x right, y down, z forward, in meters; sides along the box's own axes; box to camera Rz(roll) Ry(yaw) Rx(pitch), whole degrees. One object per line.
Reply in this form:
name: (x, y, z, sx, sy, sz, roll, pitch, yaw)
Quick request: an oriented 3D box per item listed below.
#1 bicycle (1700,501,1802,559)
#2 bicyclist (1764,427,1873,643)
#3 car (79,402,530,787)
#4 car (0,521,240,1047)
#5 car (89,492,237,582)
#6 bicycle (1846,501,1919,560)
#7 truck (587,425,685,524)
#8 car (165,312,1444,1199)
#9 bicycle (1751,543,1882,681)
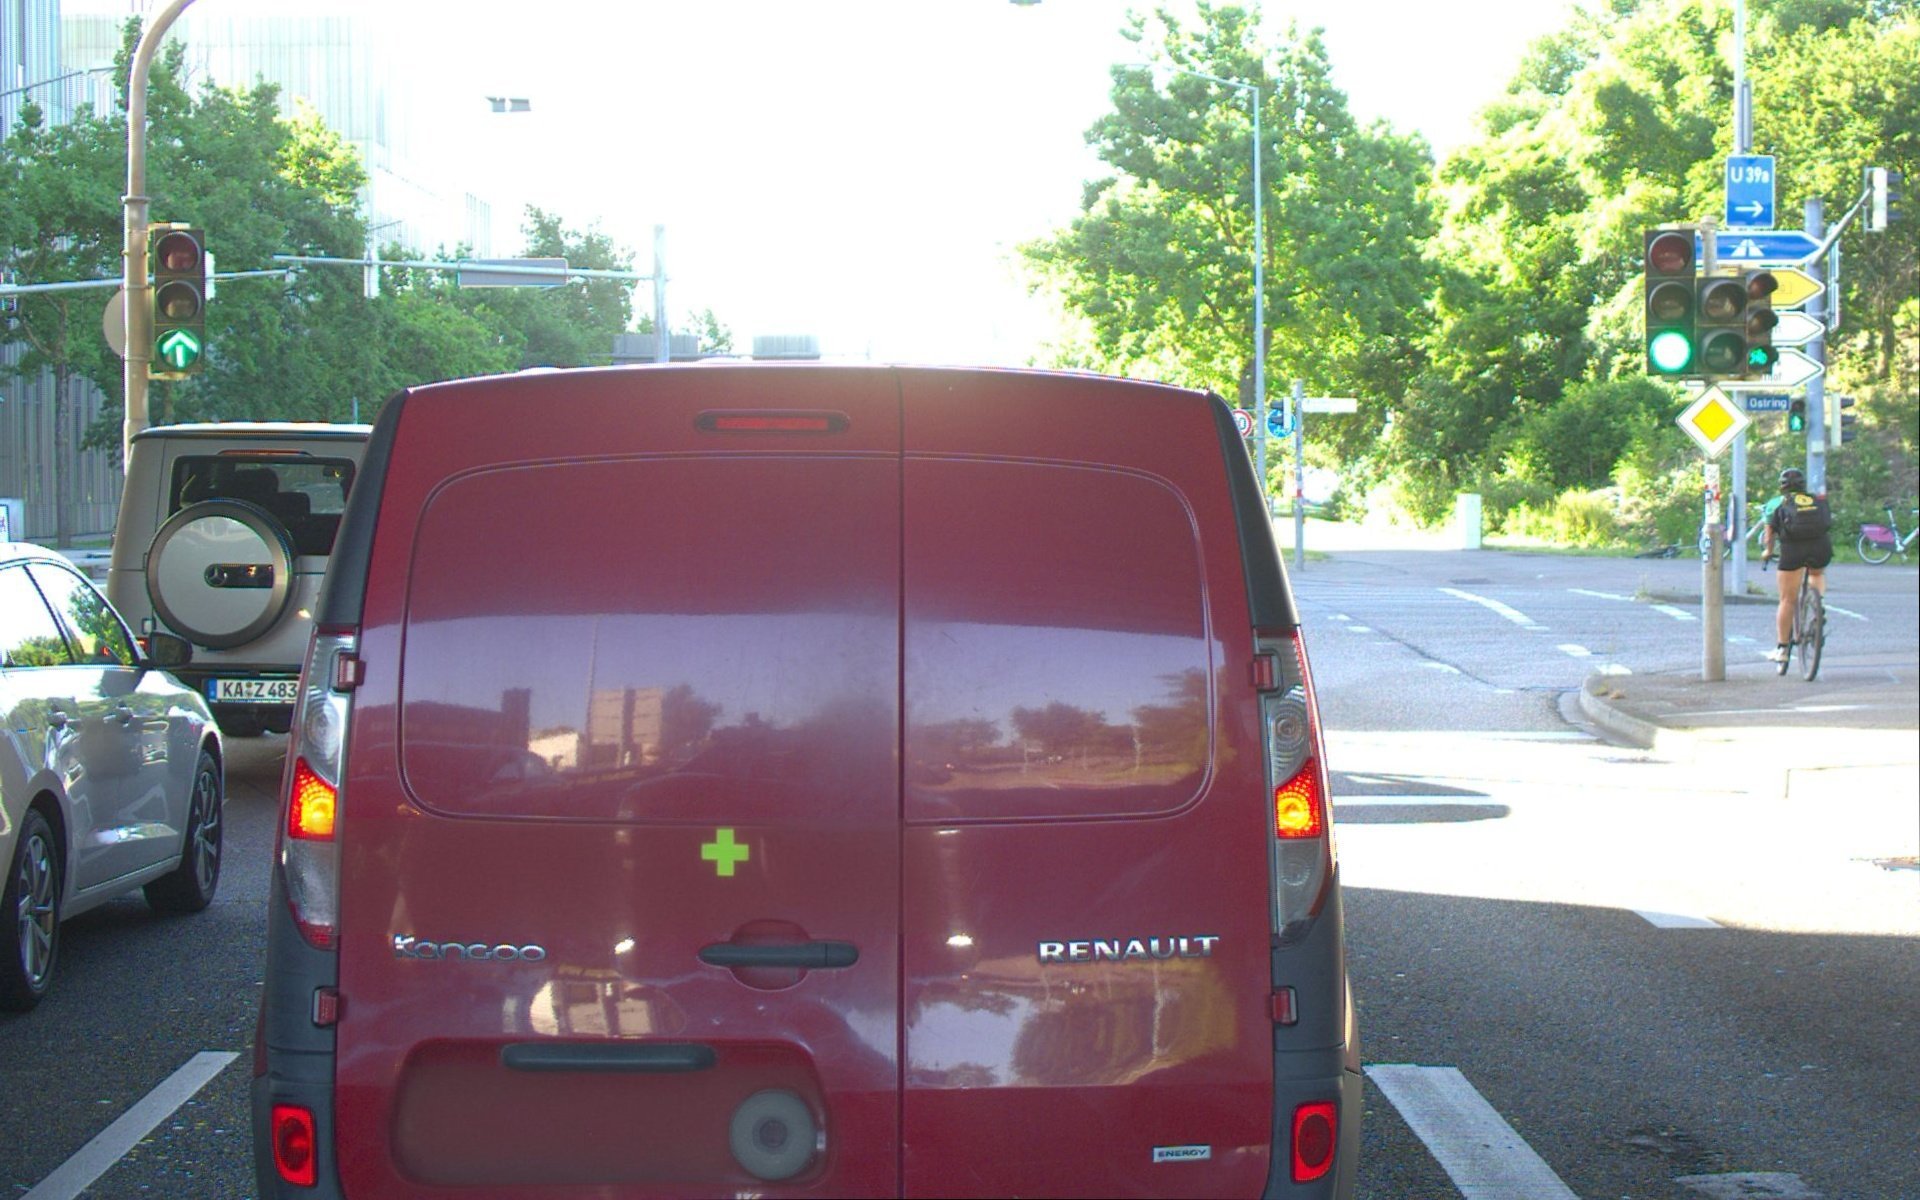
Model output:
bicycle: (14.354, -1.273, 62.407, 1.745, 1.020, 0.593, 1, 0, 9)
bicyclist: (6.537, -0.493, 26.202, 0.592, 1.608, 0.942, 1, 0, 1)
car: (-3.705, -0.052, 20.213, 1.801, 1.982, 4.589, 1, 1, -1)
car: (-3.643, 0.472, 11.398, 1.813, 1.433, 3.731, 0, 2, -1)
car: (-16.568, -1.342, 71.654, 1.825, 1.731, 4.629, -2, 2, 1)
bicycle: (16.657, -1.227, 61.020, 1.745, 1.020, 0.593, 1, 0, 9)
truck: (-10.451, -4.030, 111.364, 2.409, 3.016, 6.657, -2, 2, 0)
car: (-0.247, 0.477, 6.899, 1.805, 1.788, 4.000, 1, 1, -1)
bicycle: (6.547, 0.081, 26.346, 0.592, 1.020, 1.750, 1, 1, 1)
